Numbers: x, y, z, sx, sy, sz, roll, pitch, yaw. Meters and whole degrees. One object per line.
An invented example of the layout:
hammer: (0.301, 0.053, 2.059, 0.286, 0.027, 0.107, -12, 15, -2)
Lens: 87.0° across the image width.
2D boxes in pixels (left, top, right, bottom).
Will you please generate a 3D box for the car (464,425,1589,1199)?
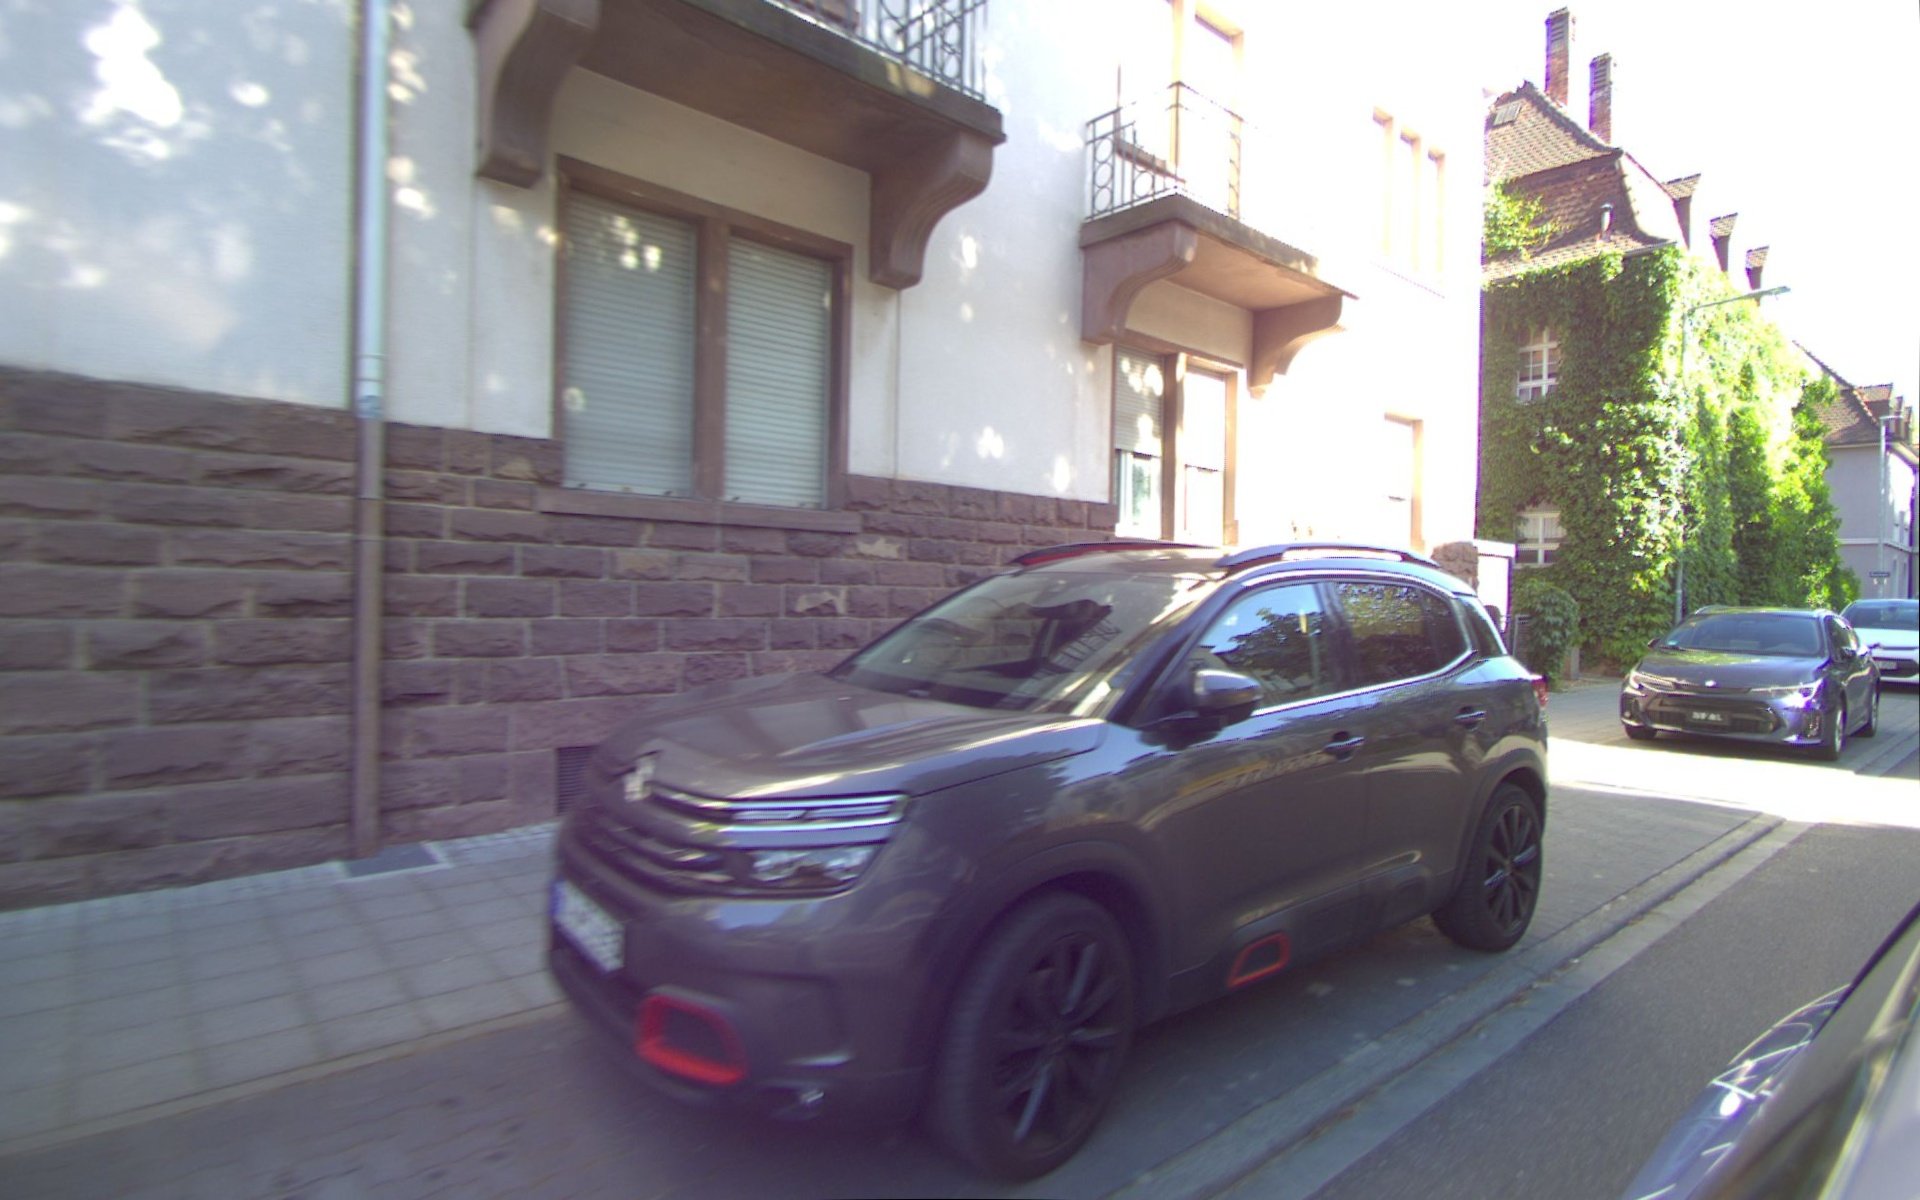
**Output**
car: (0.636, 0.523, 3.869, 4.244, 1.718, 1.781, -1, 0, -40)

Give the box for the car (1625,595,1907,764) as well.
car: (8.882, 0.701, 11.005, 4.424, 1.472, 1.646, 0, 0, -41)

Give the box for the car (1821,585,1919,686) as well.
car: (17.405, 0.597, 18.502, 4.125, 1.665, 1.871, 0, 2, -40)

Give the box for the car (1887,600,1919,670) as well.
car: (21.890, 0.762, 22.359, 3.939, 1.439, 1.640, 0, 1, -41)

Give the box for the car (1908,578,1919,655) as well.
car: (26.496, 0.445, 26.550, 4.766, 1.933, 1.856, 0, 1, -41)
